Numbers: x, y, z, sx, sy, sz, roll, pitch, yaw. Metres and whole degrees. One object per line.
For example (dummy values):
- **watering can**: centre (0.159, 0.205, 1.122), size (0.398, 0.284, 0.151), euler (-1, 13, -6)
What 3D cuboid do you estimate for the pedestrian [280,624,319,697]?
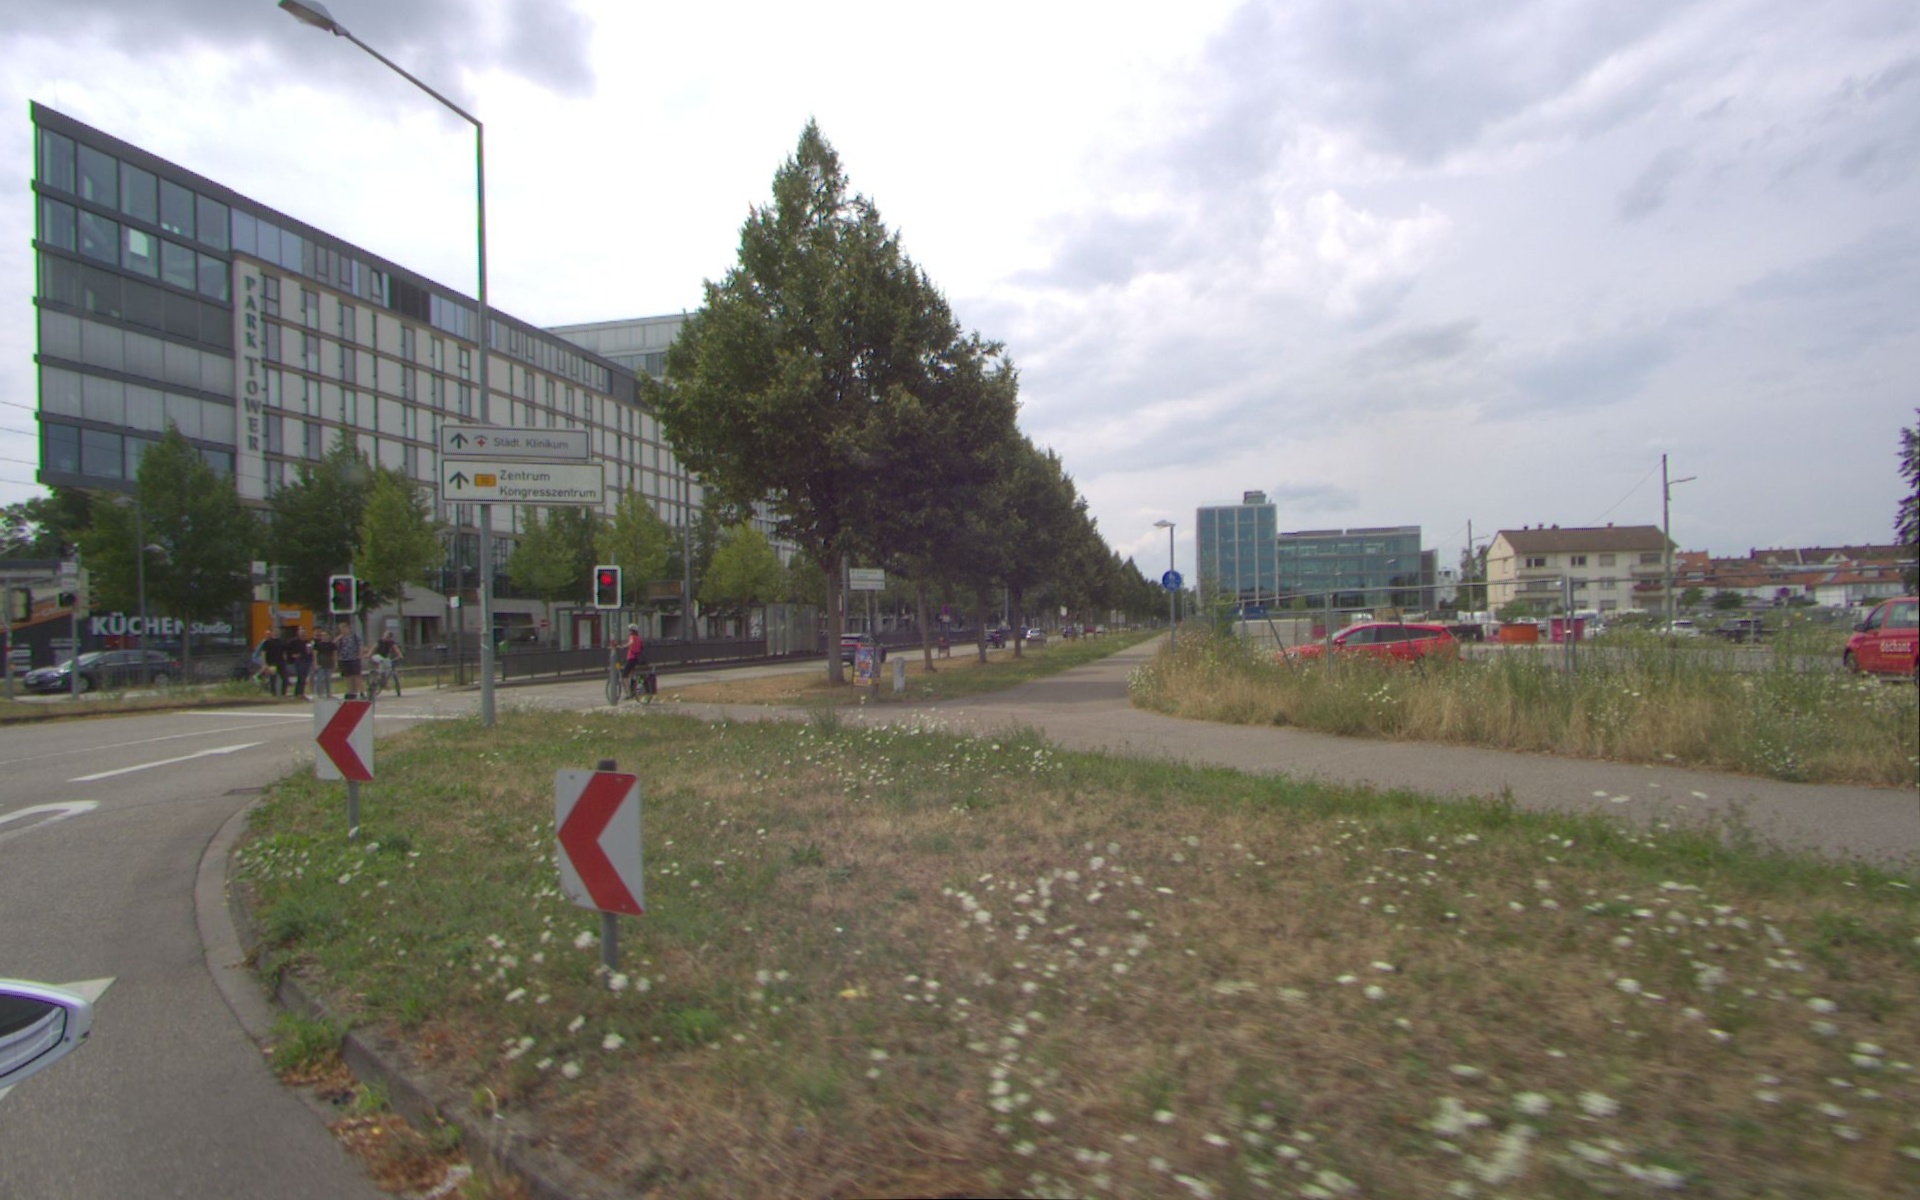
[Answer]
- **pedestrian**: centre (-16.431, 1.495, 24.917), size (0.542, 1.804, 0.633), euler (0, -1, 8)

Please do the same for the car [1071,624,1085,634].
- **car**: centre (19.268, 4.694, 163.503), size (1.768, 1.516, 4.257), euler (-1, -1, 14)

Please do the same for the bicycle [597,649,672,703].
- **bicycle**: centre (-7.730, 1.776, 23.740), size (2.019, 1.183, 0.785), euler (-2, -1, 43)

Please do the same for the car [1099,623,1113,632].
- **car**: centre (26.168, 4.952, 179.773), size (1.963, 1.638, 4.748), euler (-1, -1, 15)

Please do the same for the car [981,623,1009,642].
- **car**: centre (2.909, 2.667, 82.834), size (1.708, 1.538, 4.145), euler (-1, -1, 11)

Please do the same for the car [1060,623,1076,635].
- **car**: centre (14.331, 3.881, 132.752), size (1.768, 1.516, 4.115), euler (-1, -1, 12)

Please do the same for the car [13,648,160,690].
- **car**: centre (-33.965, 2.661, 39.073), size (1.815, 1.477, 3.997), euler (-1, -2, 15)

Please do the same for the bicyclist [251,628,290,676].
- **bicyclist**: centre (-19.297, 1.452, 28.024), size (0.662, 1.334, 0.640), euler (0, -1, -6)

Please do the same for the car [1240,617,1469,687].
- **car**: centre (9.805, 1.295, 25.236), size (5.040, 1.624, 1.789), euler (-1, -1, 8)

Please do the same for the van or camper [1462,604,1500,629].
- **van or camper**: centre (59.526, 1.935, 114.489), size (2.307, 2.722, 5.245), euler (-1, -1, 9)

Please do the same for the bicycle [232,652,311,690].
- **bicycle**: centre (-19.244, 1.987, 28.013), size (1.722, 1.020, 0.654), euler (0, -1, -5)

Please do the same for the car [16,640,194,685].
- **car**: centre (-30.852, 2.209, 36.329), size (1.815, 1.477, 4.734), euler (-1, -2, 15)

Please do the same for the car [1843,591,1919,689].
- **car**: centre (20.302, 0.826, 20.513), size (1.904, 1.935, 4.973), euler (1, -1, 25)

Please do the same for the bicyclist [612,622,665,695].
- **bicyclist**: centre (-7.577, 1.361, 23.593), size (1.038, 1.648, 0.784), euler (-1, -1, 44)

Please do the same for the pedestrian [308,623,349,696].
- **pedestrian**: centre (-15.795, 1.478, 25.052), size (0.542, 1.804, 0.690), euler (0, -1, 8)

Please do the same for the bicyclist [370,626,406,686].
- **bicyclist**: centre (-15.436, 1.492, 27.013), size (0.754, 1.601, 0.558), euler (-1, -1, 32)

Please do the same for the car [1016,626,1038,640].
- **car**: centre (7.739, 3.826, 114.927), size (1.701, 1.553, 4.368), euler (-1, -1, 15)

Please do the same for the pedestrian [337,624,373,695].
- **pedestrian**: centre (-15.544, 1.523, 25.728), size (0.542, 1.804, 0.580), euler (0, -1, 8)

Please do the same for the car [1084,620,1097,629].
- **car**: centre (24.177, 4.568, 185.592), size (1.963, 1.638, 4.750), euler (-1, -1, 13)

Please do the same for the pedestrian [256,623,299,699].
- **pedestrian**: centre (-16.468, 1.454, 24.179), size (0.542, 1.804, 0.690), euler (0, -1, 8)

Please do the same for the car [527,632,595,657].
- **car**: centre (-24.529, 2.723, 61.700), size (1.815, 1.477, 3.996), euler (-1, -2, 16)

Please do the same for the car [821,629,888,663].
- **car**: centre (-5.221, 2.259, 50.075), size (2.026, 1.571, 4.472), euler (-1, -1, 13)

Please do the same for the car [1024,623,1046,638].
- **car**: centre (7.836, 3.153, 104.823), size (1.796, 1.481, 4.259), euler (-1, -1, 11)

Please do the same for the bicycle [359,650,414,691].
- **bicycle**: centre (-15.504, 1.897, 27.056), size (1.688, 1.072, 0.546), euler (-1, -1, 32)

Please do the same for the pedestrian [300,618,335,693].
- **pedestrian**: centre (-16.443, 1.420, 25.630), size (0.542, 1.886, 0.531), euler (0, -1, 8)
